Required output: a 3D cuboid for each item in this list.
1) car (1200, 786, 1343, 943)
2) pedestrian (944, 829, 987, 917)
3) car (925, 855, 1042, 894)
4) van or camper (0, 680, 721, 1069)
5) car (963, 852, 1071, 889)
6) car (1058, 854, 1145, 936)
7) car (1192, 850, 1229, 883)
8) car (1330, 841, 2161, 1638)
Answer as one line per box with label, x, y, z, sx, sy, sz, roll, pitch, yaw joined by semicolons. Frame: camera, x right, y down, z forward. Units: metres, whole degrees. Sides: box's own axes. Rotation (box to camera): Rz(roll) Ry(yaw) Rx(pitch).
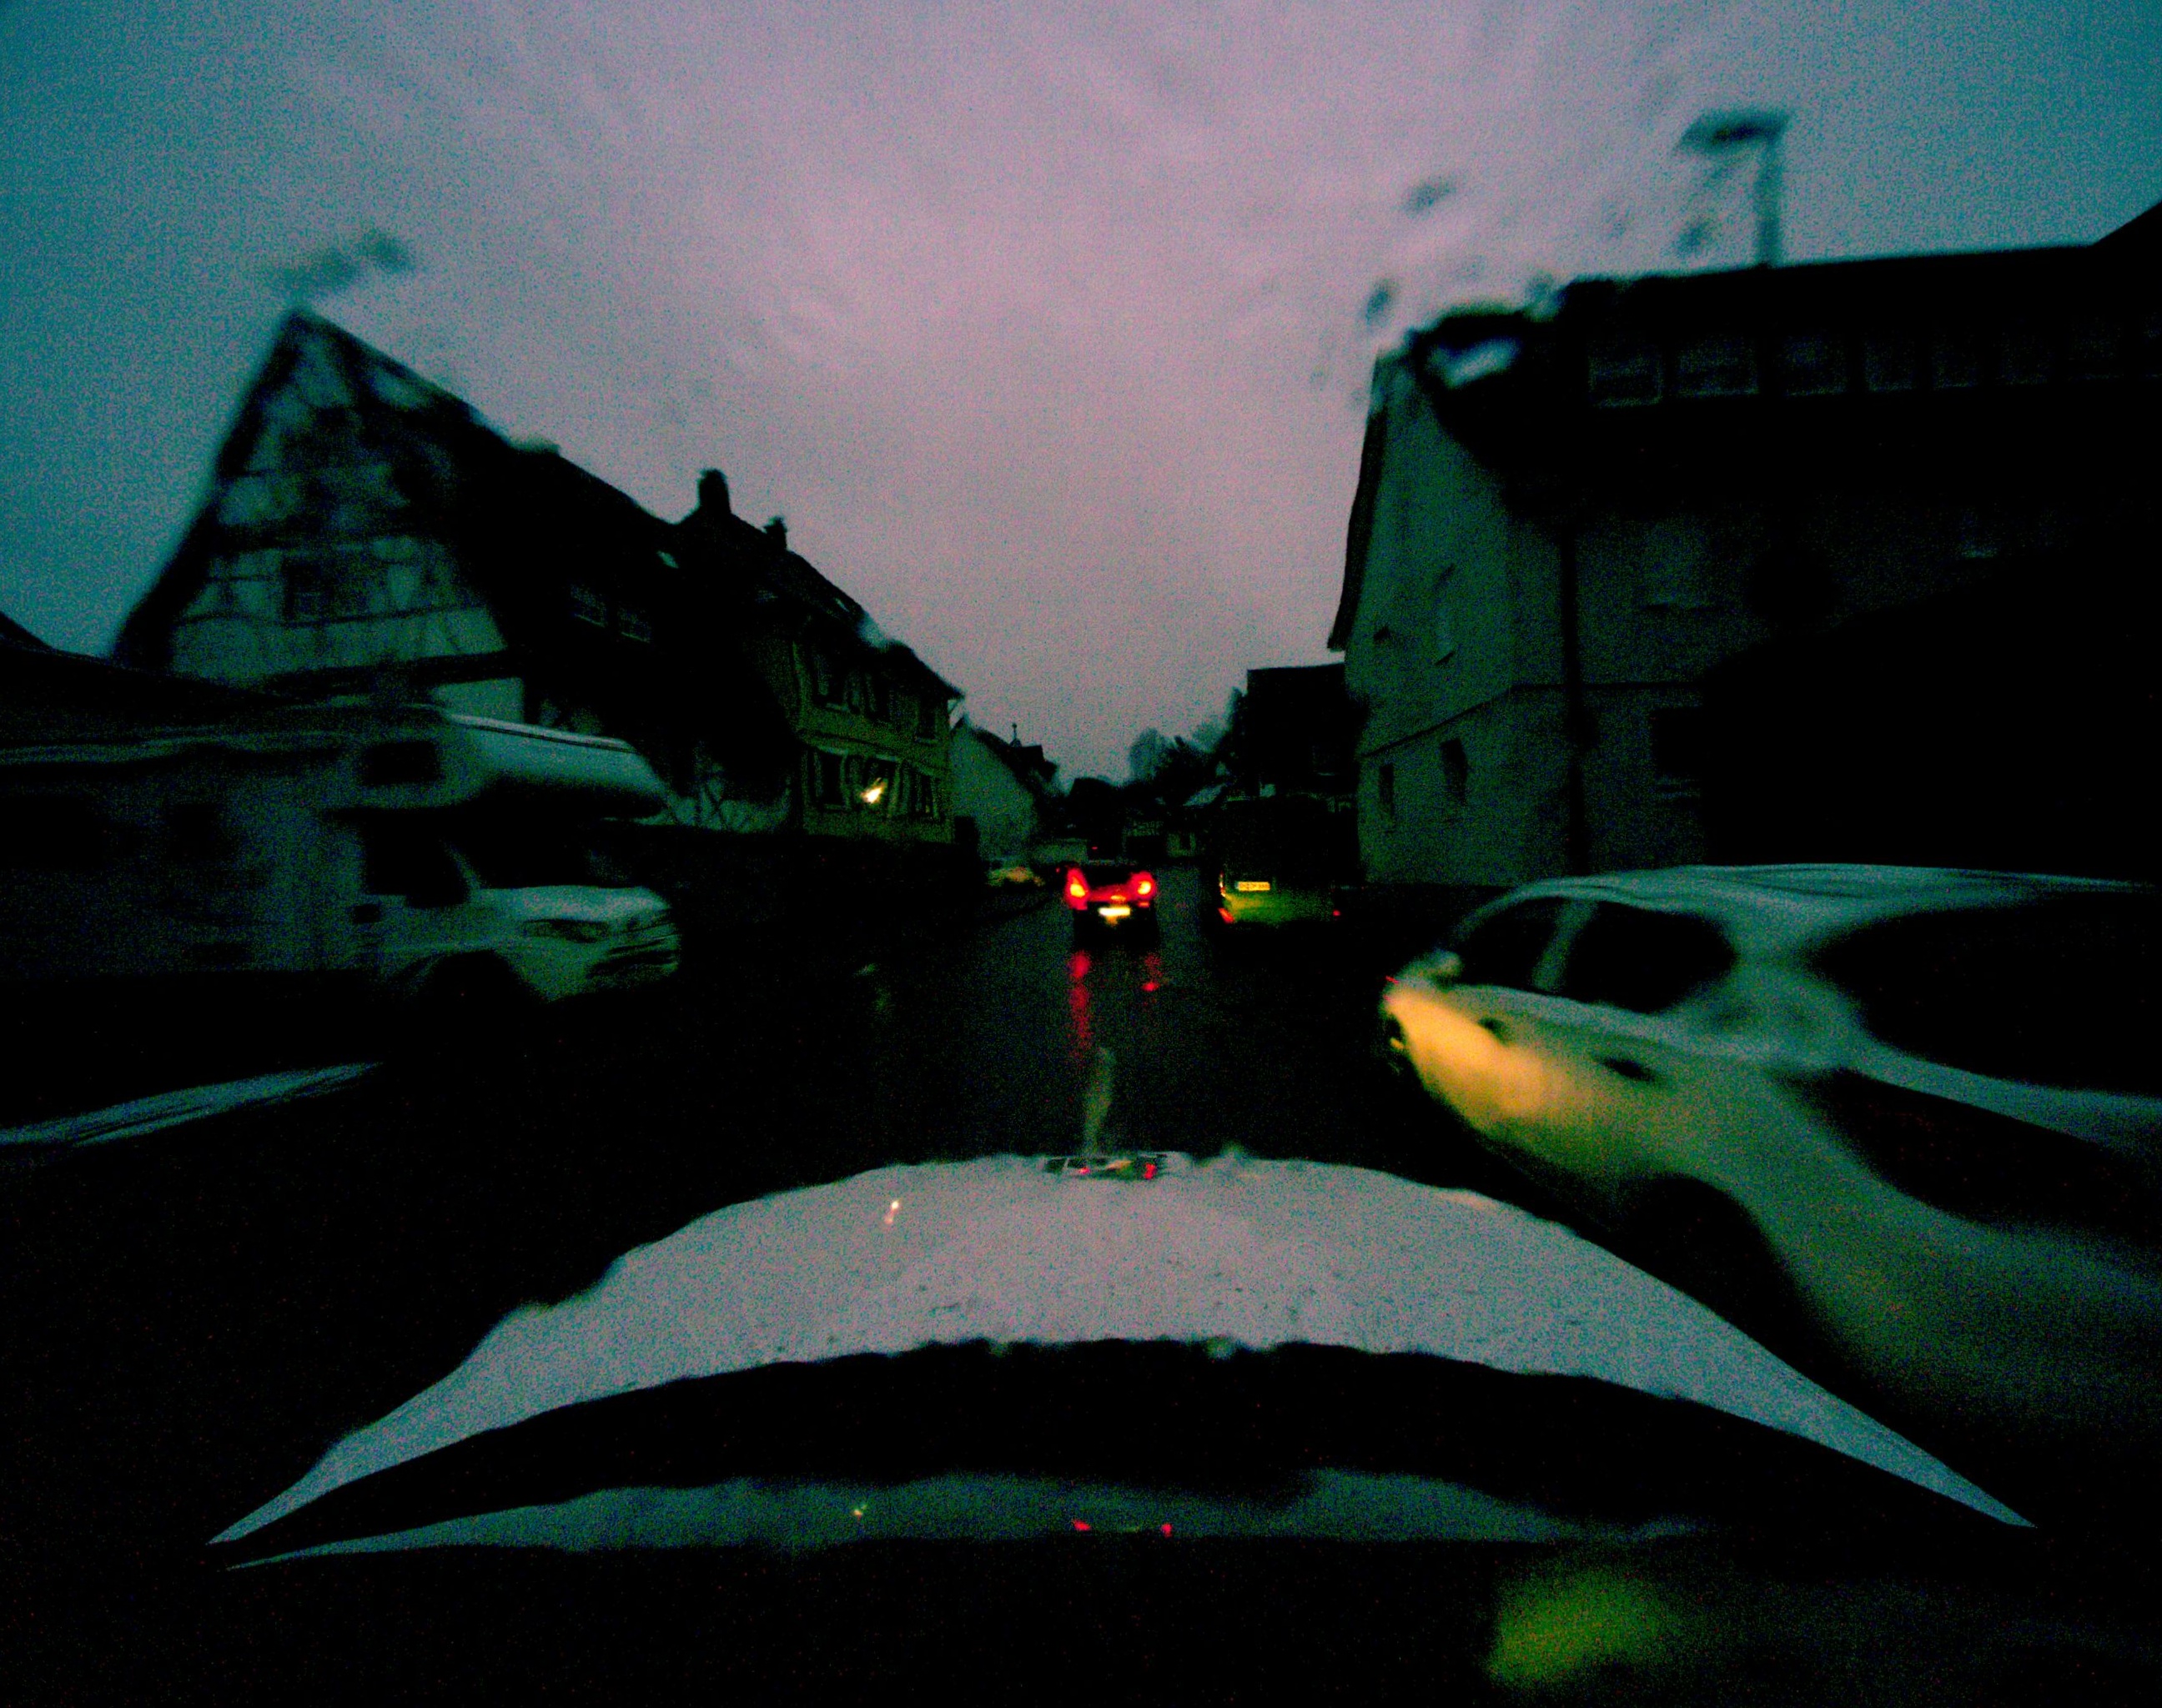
car;3.399;0.167;15.637;1.998;2.454;5.625;-1;0;6
pedestrian;-2.714;0.448;19.200;0.779;2.014;0.871;-1;-1;8
car;-4.188;0.875;35.145;4.571;1.470;1.899;-3;0;13
van or camper;-7.203;0.257;8.141;6.027;2.942;2.328;-4;-1;6
car;-2.915;0.742;37.781;4.566;1.470;2.005;-3;0;9
car;0.515;0.753;16.764;1.539;1.466;3.703;-1;0;5
car;6.244;0.552;38.858;1.627;1.471;4.012;-1;0;10
car;2.535;0.715;3.705;1.637;1.477;4.375;-2;0;3
